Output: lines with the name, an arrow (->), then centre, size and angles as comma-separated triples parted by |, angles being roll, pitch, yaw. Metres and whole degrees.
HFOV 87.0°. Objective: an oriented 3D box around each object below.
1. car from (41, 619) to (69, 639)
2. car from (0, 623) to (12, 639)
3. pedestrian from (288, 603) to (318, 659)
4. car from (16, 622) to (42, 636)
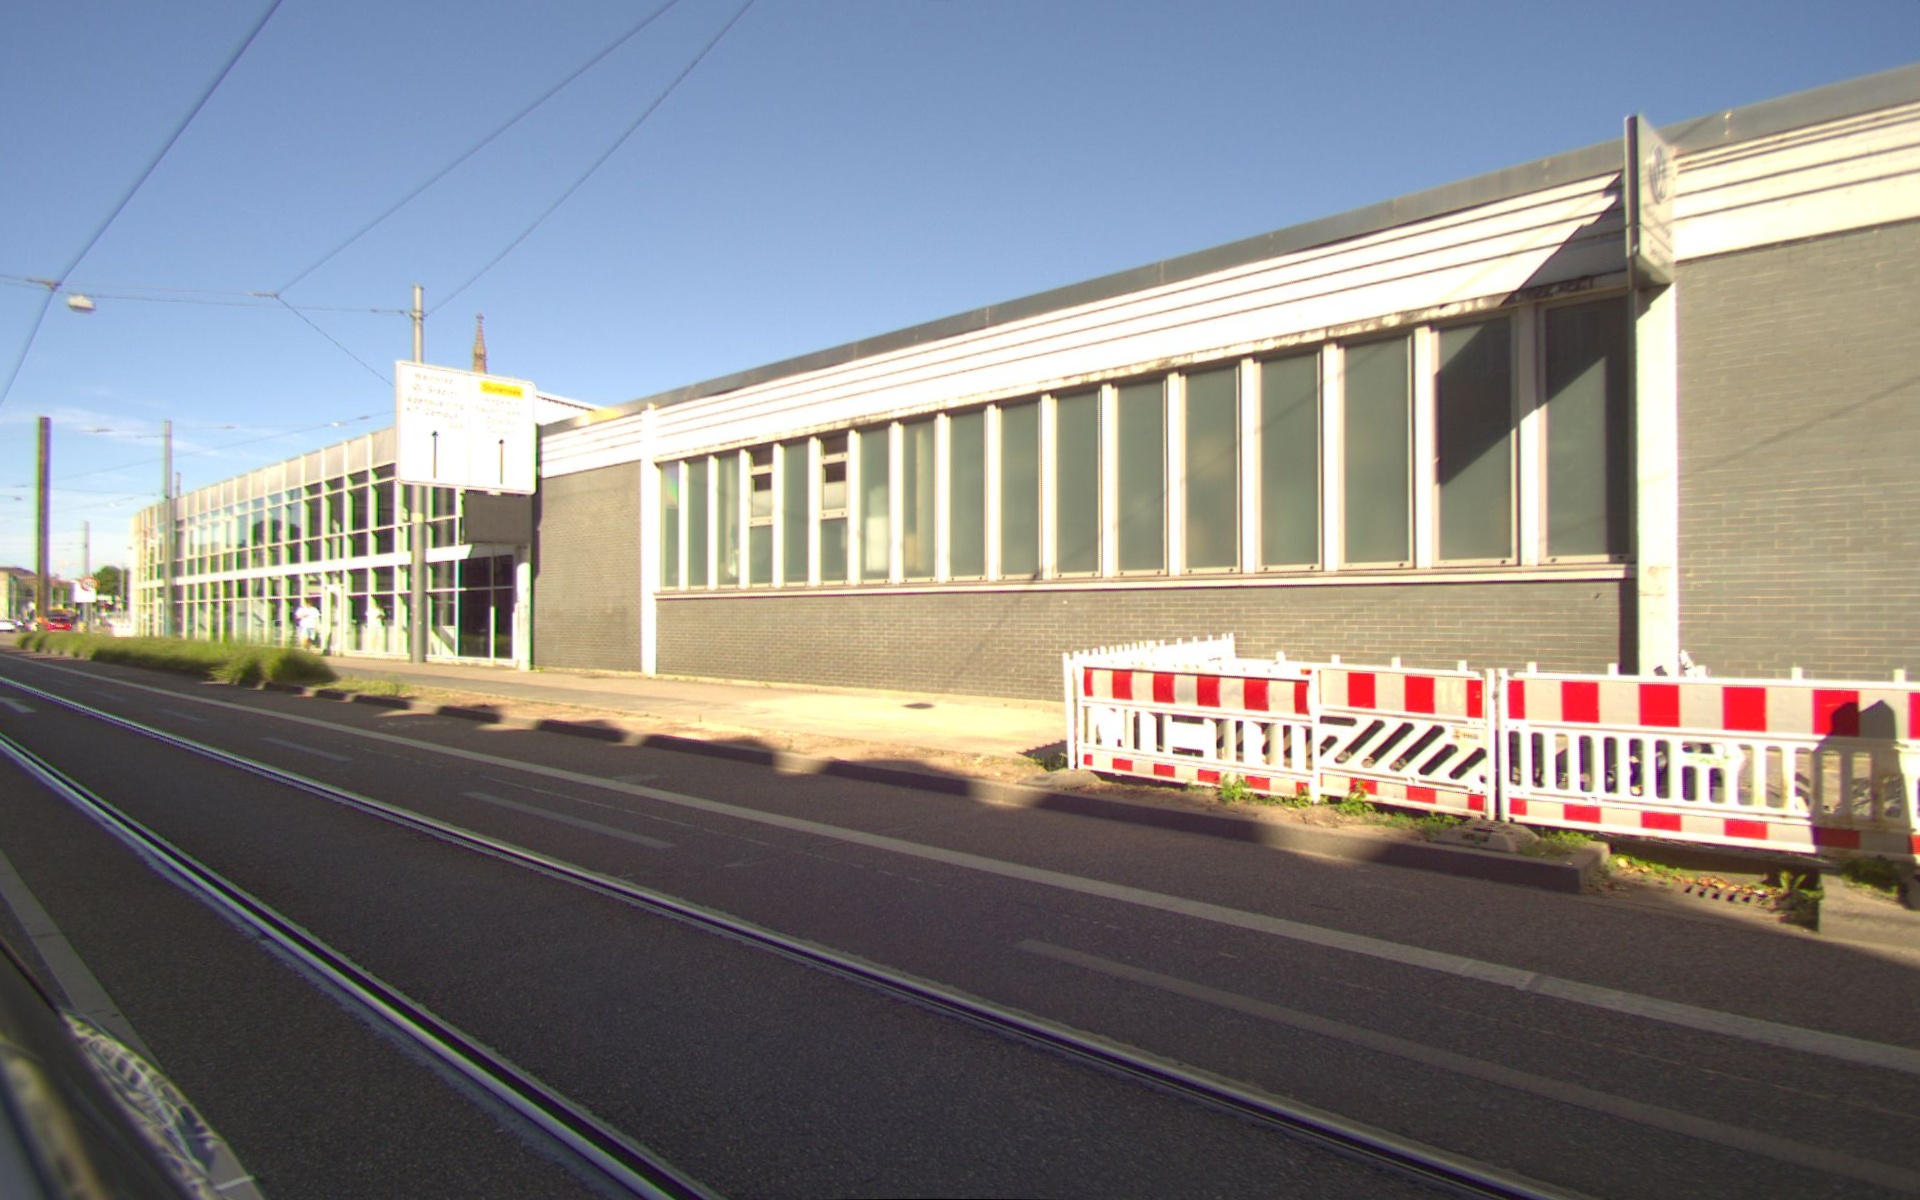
car -> -79.235, 2.507, 88.590 | 1.777, 1.732, 4.421 | 2, -1, -43
car -> -96.555, 3.118, 101.473 | 4.540, 1.443, 1.783 | 0, 1, 42
pedestrian -> -21.181, 0.993, 32.620 | 1.050, 1.778, 0.521 | -1, 1, 41
car -> -98.152, 3.074, 106.722 | 3.970, 1.490, 1.632 | -1, -2, 42
